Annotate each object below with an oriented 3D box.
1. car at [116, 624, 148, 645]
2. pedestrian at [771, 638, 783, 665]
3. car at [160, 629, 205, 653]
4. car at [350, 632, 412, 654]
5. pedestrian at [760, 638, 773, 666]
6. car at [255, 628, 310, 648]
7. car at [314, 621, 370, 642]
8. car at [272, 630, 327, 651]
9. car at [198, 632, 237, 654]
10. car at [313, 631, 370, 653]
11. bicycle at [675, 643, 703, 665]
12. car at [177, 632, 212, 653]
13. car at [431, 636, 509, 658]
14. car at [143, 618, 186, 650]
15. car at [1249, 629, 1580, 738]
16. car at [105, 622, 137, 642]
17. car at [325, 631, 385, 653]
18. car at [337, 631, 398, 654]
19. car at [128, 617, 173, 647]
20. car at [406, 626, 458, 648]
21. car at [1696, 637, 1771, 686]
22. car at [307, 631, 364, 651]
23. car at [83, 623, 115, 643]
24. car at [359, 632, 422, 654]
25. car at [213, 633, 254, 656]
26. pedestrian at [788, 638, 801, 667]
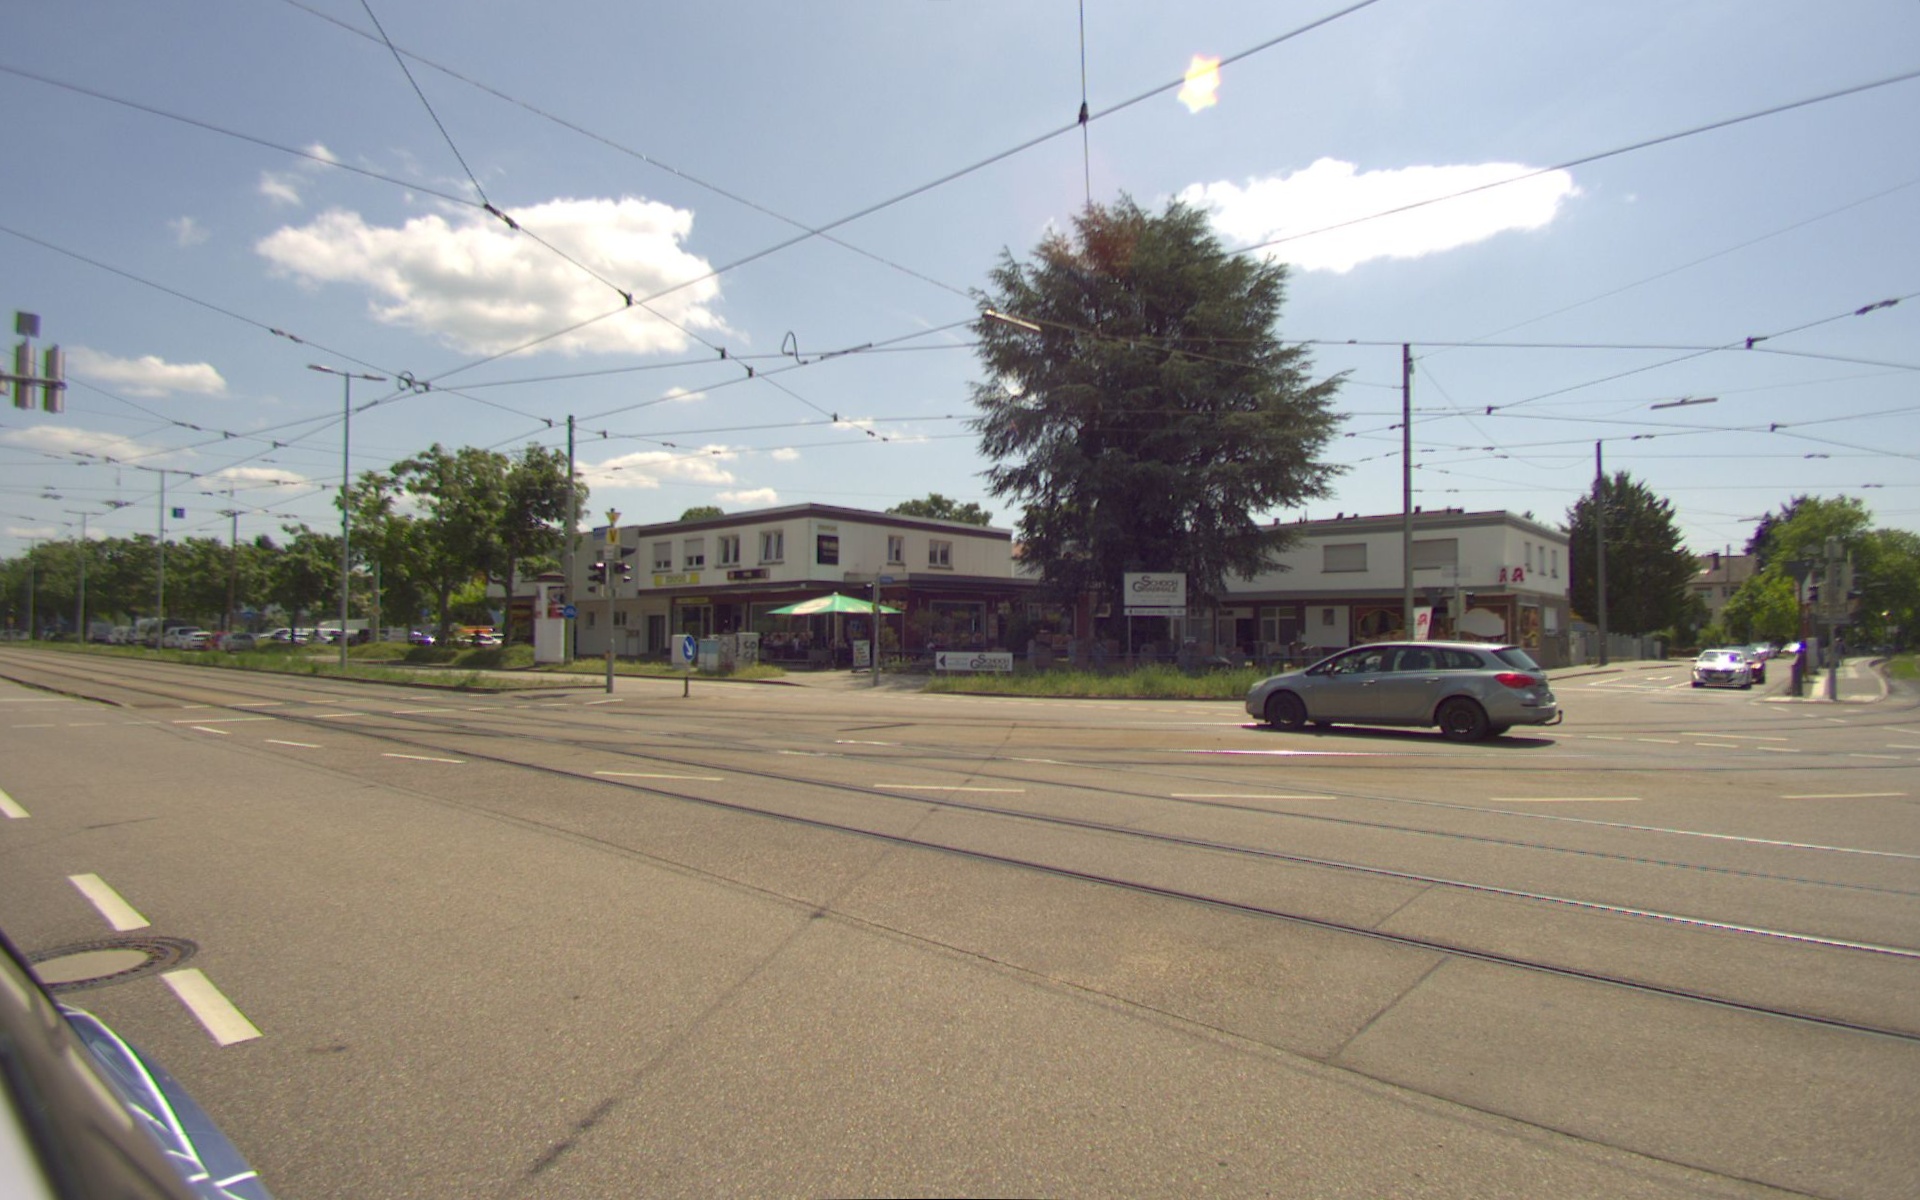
[{"bbox_3d":[-81.485,3.341,99.537,4.648,1.953,1.771,-1,-1,42],"label":"car"},{"bbox_3d":[-8.449,2.380,46.806,0.400,1.256,0.382,-2,-4,42],"label":"pedestrian"},{"bbox_3d":[-64.498,3.384,83.974,4.887,1.851,2.127,-1,-1,42],"label":"car"},{"bbox_3d":[-47.068,3.480,82.276,1.879,1.750,3.944,-2,-3,42],"label":"car"},{"bbox_3d":[-8.809,2.370,46.047,0.501,1.278,0.315,-2,-4,43],"label":"pedestrian"},{"bbox_3d":[-67.169,3.784,100.417,1.803,1.749,4.144,-1,-4,42],"label":"car"},{"bbox_3d":[-78.965,4.070,129.381,2.257,2.500,5.626,-2,-3,39],"label":"car"},{"bbox_3d":[-61.347,3.796,94.030,1.803,1.749,3.944,-1,-4,42],"label":"car"},{"bbox_3d":[-56.185,3.228,76.575,3.645,1.551,1.484,-1,-1,39],"label":"car"},{"bbox_3d":[-54.616,3.692,89.404,1.803,1.749,3.944,-1,-4,42],"label":"car"},{"bbox_3d":[-12.703,2.526,47.423,1.801,1.049,0.393,-2,-4,44],"label":"bicycle"},{"bbox_3d":[-60.002,3.288,79.340,4.359,1.551,1.483,-1,-1,43],"label":"car"},{"bbox_3d":[-33.651,3.244,69.605,1.907,1.445,4.423,-2,-3,44],"label":"car"},{"bbox_3d":[-69.145,2.914,87.974,5.032,2.631,2.127,-1,-1,42],"label":"car"},{"bbox_3d":[7.075,1.225,16.027,4.399,1.483,1.972,-2,-3,41],"label":"car"},{"bbox_3d":[-86.338,3.286,104.166,4.486,1.953,1.772,-1,-1,40],"label":"car"},{"bbox_3d":[-51.018,3.545,85.335,1.803,1.750,3.944,-2,-3,42],"label":"car"},{"bbox_3d":[-48.858,3.536,83.480,1.803,1.749,3.944,-1,-4,42],"label":"car"},{"bbox_3d":[-75.020,2.931,93.713,6.701,2.631,2.128,-1,-1,41],"label":"car"},{"bbox_3d":[-57.105,4.005,109.564,1.849,2.242,4.593,-1,-4,39],"label":"car"},{"bbox_3d":[29.366,2.360,38.368,1.900,1.738,3.799,-1,-4,43],"label":"car"},{"bbox_3d":[-56.335,3.742,91.357,1.902,1.750,3.944,-2,-3,42],"label":"car"},{"bbox_3d":[-95.360,3.621,112.056,4.486,2.117,2.045,-1,-1,40],"label":"car"},{"bbox_3d":[-45.011,3.399,80.034,1.803,1.750,3.944,-2,-3,42],"label":"car"},{"bbox_3d":[-52.305,3.172,72.866,4.551,1.551,1.559,-1,-1,43],"label":"car"},{"bbox_3d":[-7.459,2.359,45.616,0.453,1.278,0.337,-2,-4,44],"label":"pedestrian"}]
